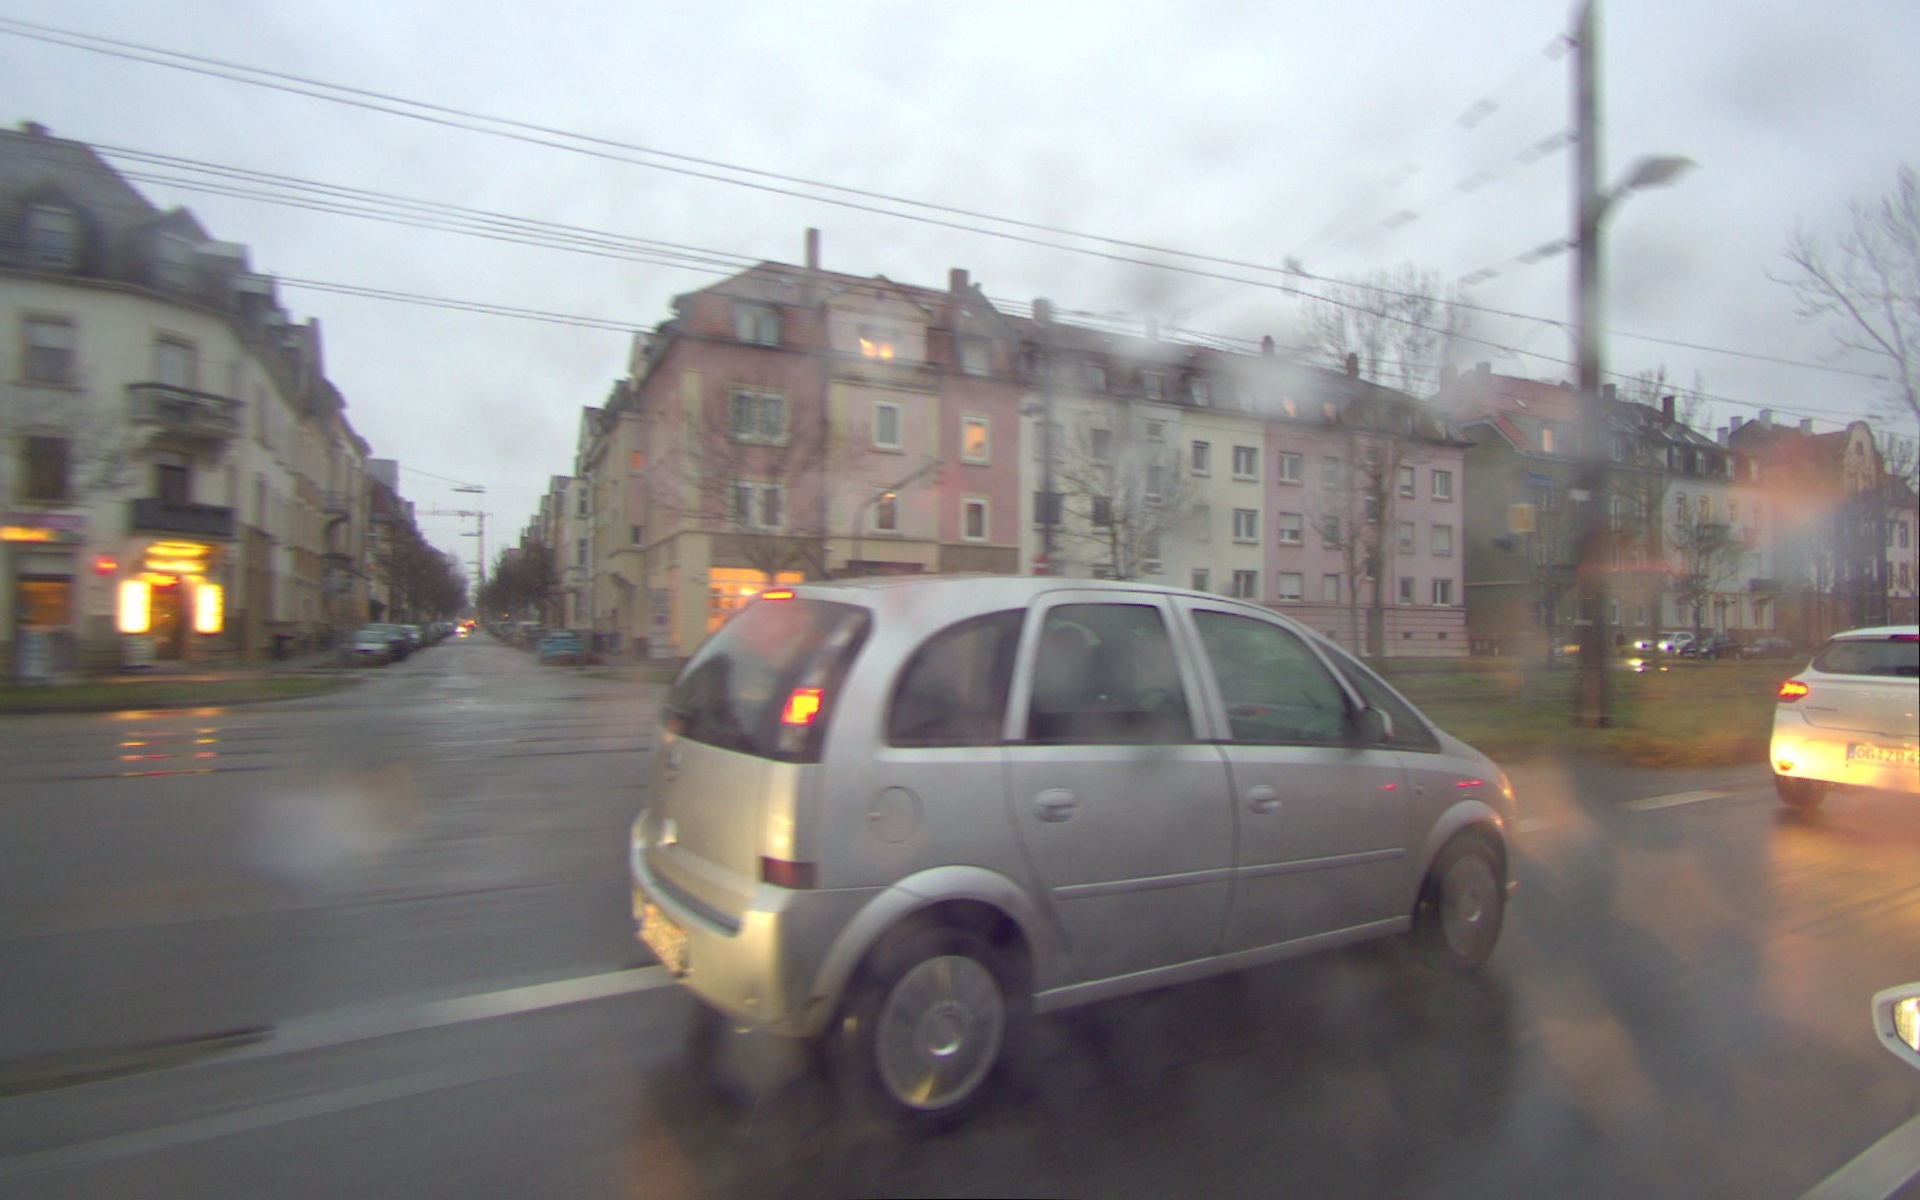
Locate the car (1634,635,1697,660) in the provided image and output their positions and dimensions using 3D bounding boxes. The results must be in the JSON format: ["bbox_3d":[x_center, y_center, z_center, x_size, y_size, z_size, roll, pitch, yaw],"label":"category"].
[{"bbox_3d":[43.250,2.885,61.569,3.511,1.520,1.770,1,-2,-27],"label":"car"}]

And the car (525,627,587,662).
[{"bbox_3d":[-18.138,1.970,44.971,1.977,1.439,3.967,2,-2,-31],"label":"car"}]

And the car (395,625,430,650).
[{"bbox_3d":[-34.579,2.382,63.547,1.771,1.505,3.974,1,-2,-26],"label":"car"}]

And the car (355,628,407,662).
[{"bbox_3d":[-26.595,2.058,46.252,1.771,1.505,3.974,1,-2,-26],"label":"car"}]

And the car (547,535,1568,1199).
[{"bbox_3d":[0.572,0.711,4.211,4.009,1.621,1.799,2,-1,-32],"label":"car"}]

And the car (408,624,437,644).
[{"bbox_3d":[-40.337,2.552,75.484,1.771,1.505,3.974,1,-2,-26],"label":"car"}]

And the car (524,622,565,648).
[{"bbox_3d":[-24.576,2.045,59.388,1.974,1.439,3.973,1,-2,-26],"label":"car"}]

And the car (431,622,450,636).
[{"bbox_3d":[-57.716,3.207,111.682,1.771,1.505,3.974,1,-2,-26],"label":"car"}]

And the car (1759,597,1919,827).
[{"bbox_3d":[8.454,0.841,8.218,4.006,1.621,1.664,2,-1,-30],"label":"car"}]

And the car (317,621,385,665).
[{"bbox_3d":[-22.339,1.554,36.956,1.771,1.505,3.974,1,-2,-26],"label":"car"}]

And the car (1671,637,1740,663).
[{"bbox_3d":[41.747,2.788,56.242,3.511,1.372,1.770,1,-2,-27],"label":"car"}]

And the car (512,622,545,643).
[{"bbox_3d":[-30.776,2.325,71.629,1.974,1.439,3.974,1,-2,-26],"label":"car"}]

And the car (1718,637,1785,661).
[{"bbox_3d":[46.045,2.842,58.426,3.511,1.372,1.770,1,-2,-27],"label":"car"}]

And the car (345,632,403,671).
[{"bbox_3d":[-24.269,2.097,41.715,1.771,1.505,3.974,1,-2,-26],"label":"car"}]

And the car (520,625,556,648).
[{"bbox_3d":[-28.035,2.404,66.693,1.974,1.439,3.974,1,-2,-26],"label":"car"}]
